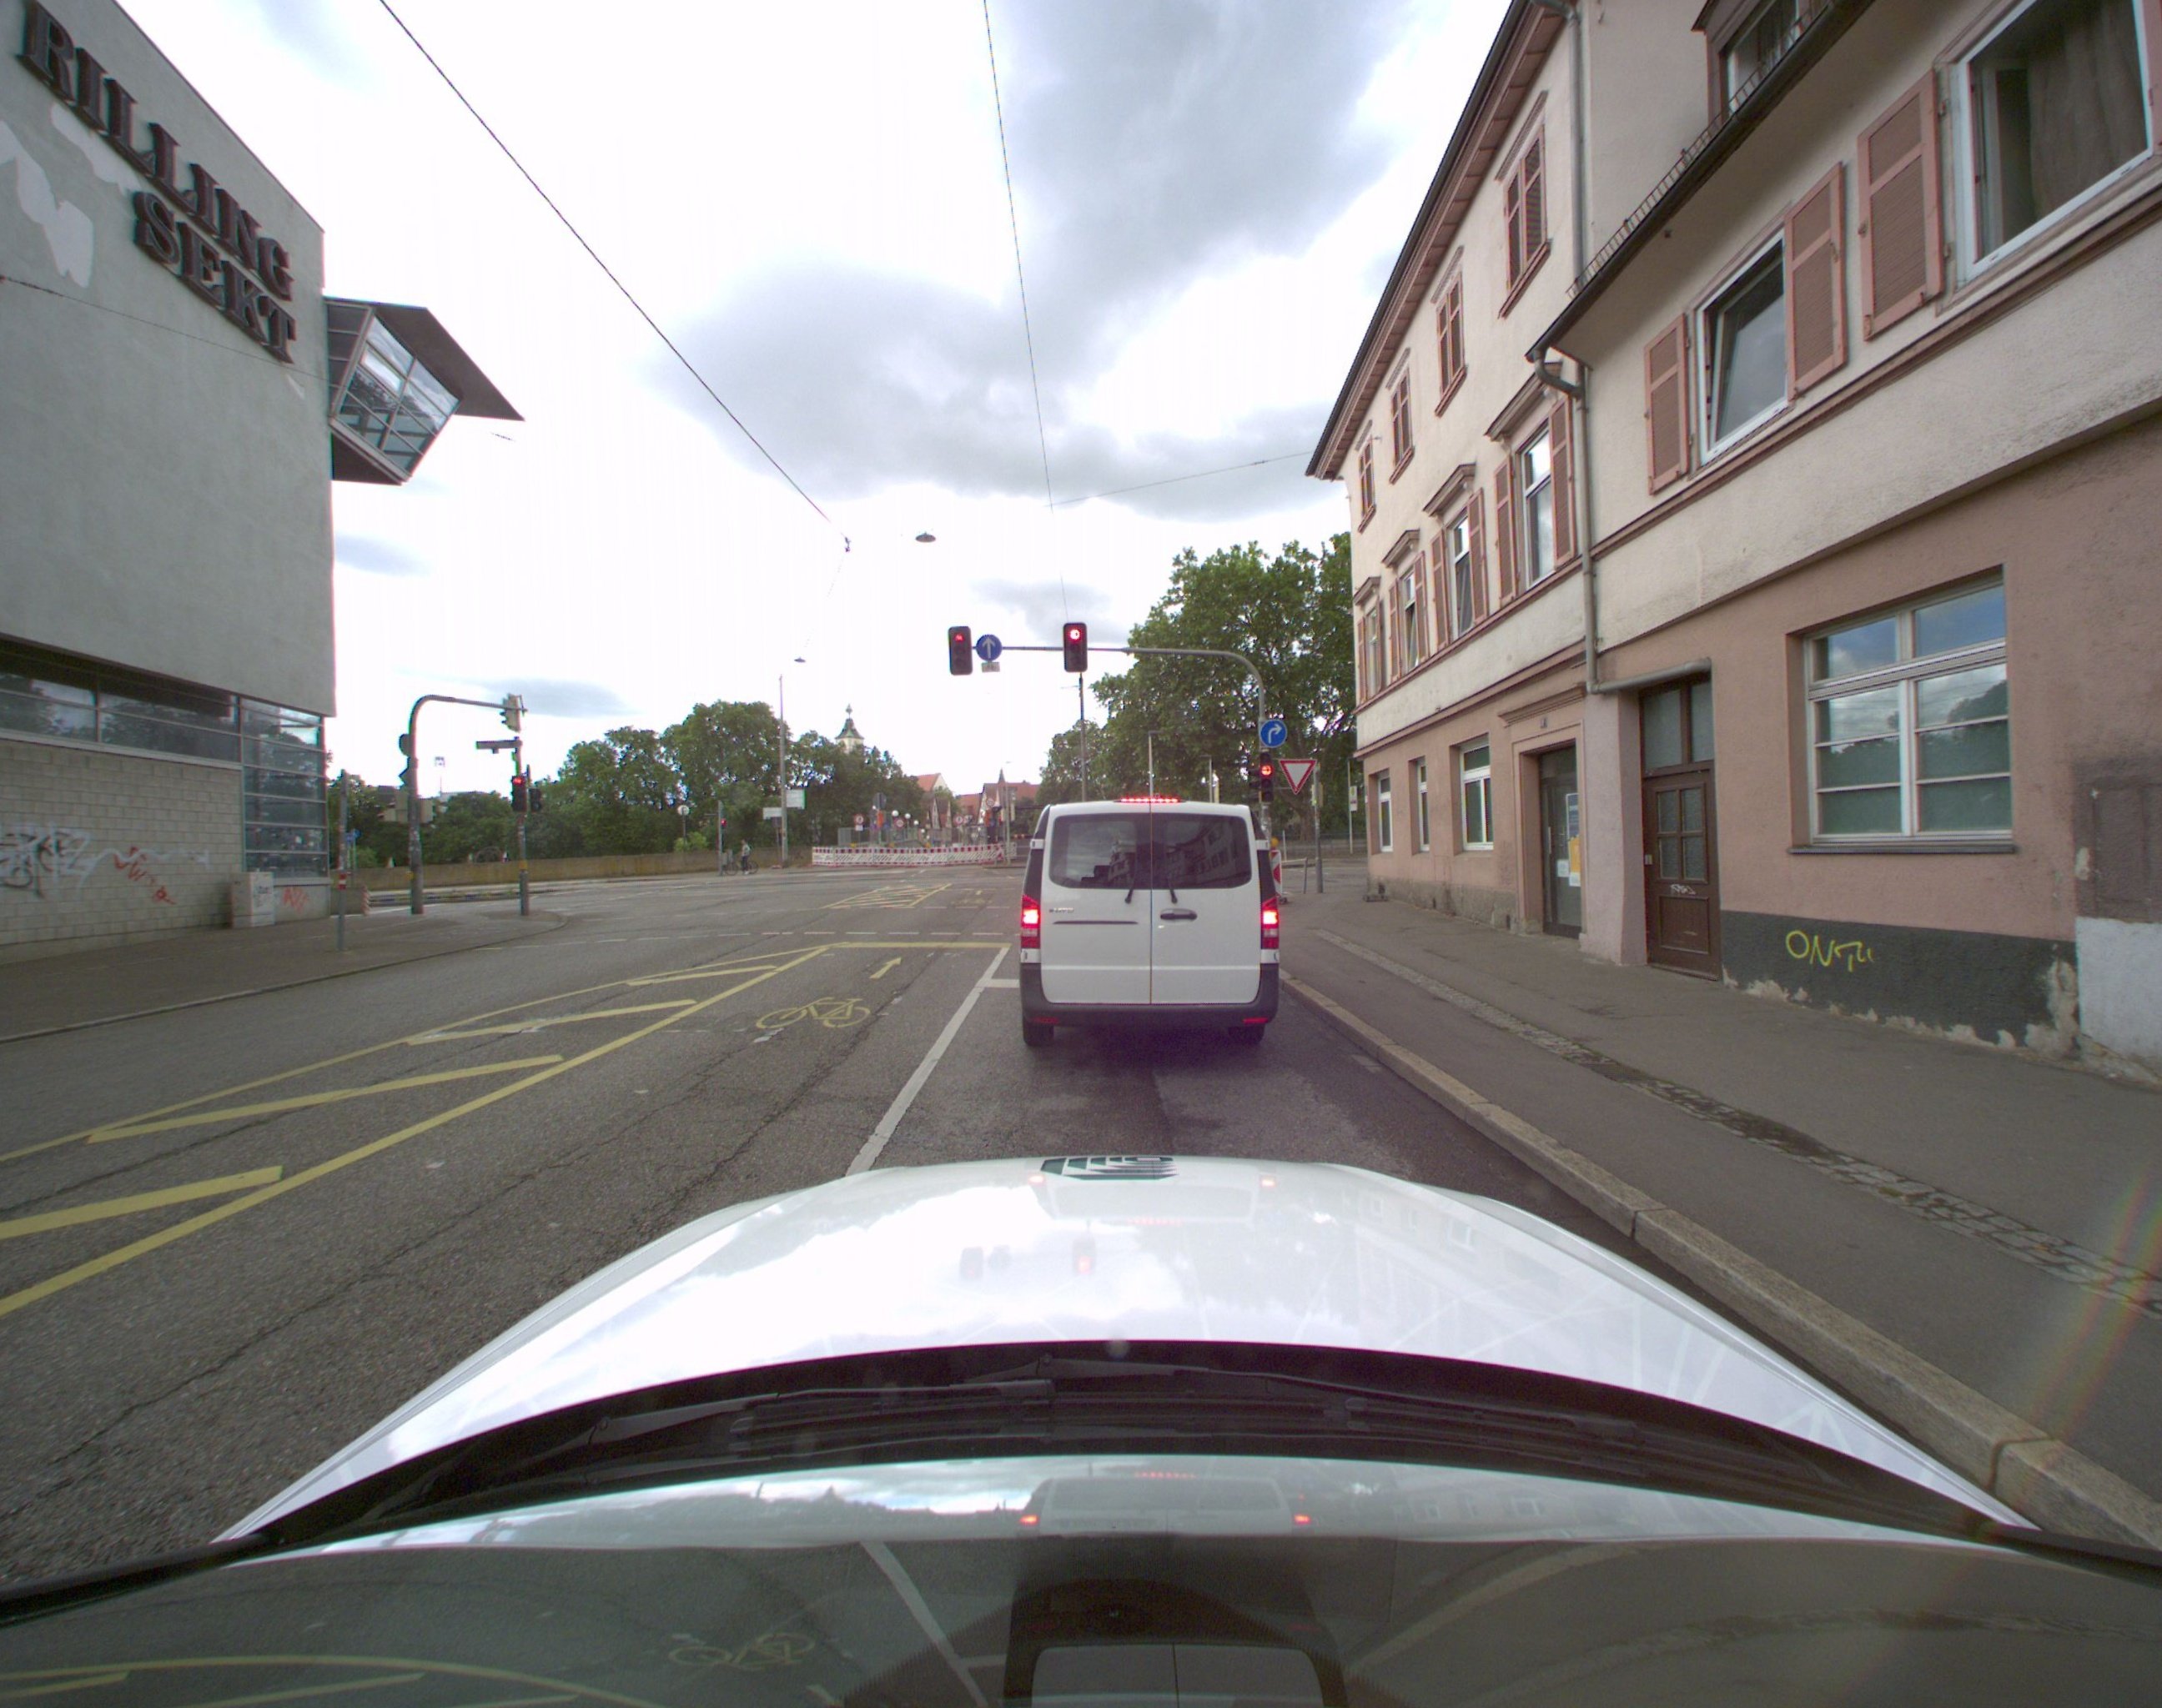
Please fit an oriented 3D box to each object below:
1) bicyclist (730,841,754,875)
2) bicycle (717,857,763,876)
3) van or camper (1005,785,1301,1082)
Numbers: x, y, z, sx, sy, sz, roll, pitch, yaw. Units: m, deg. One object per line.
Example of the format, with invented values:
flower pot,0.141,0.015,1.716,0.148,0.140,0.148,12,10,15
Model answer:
bicyclist,-18.116,0.199,43.540,1.010,1.743,0.746,-2,1,-39
bicycle,-18.203,0.645,43.480,2.149,0.892,0.751,-3,2,-39
van or camper,0.436,0.446,7.539,1.932,1.924,4.439,0,2,-1
